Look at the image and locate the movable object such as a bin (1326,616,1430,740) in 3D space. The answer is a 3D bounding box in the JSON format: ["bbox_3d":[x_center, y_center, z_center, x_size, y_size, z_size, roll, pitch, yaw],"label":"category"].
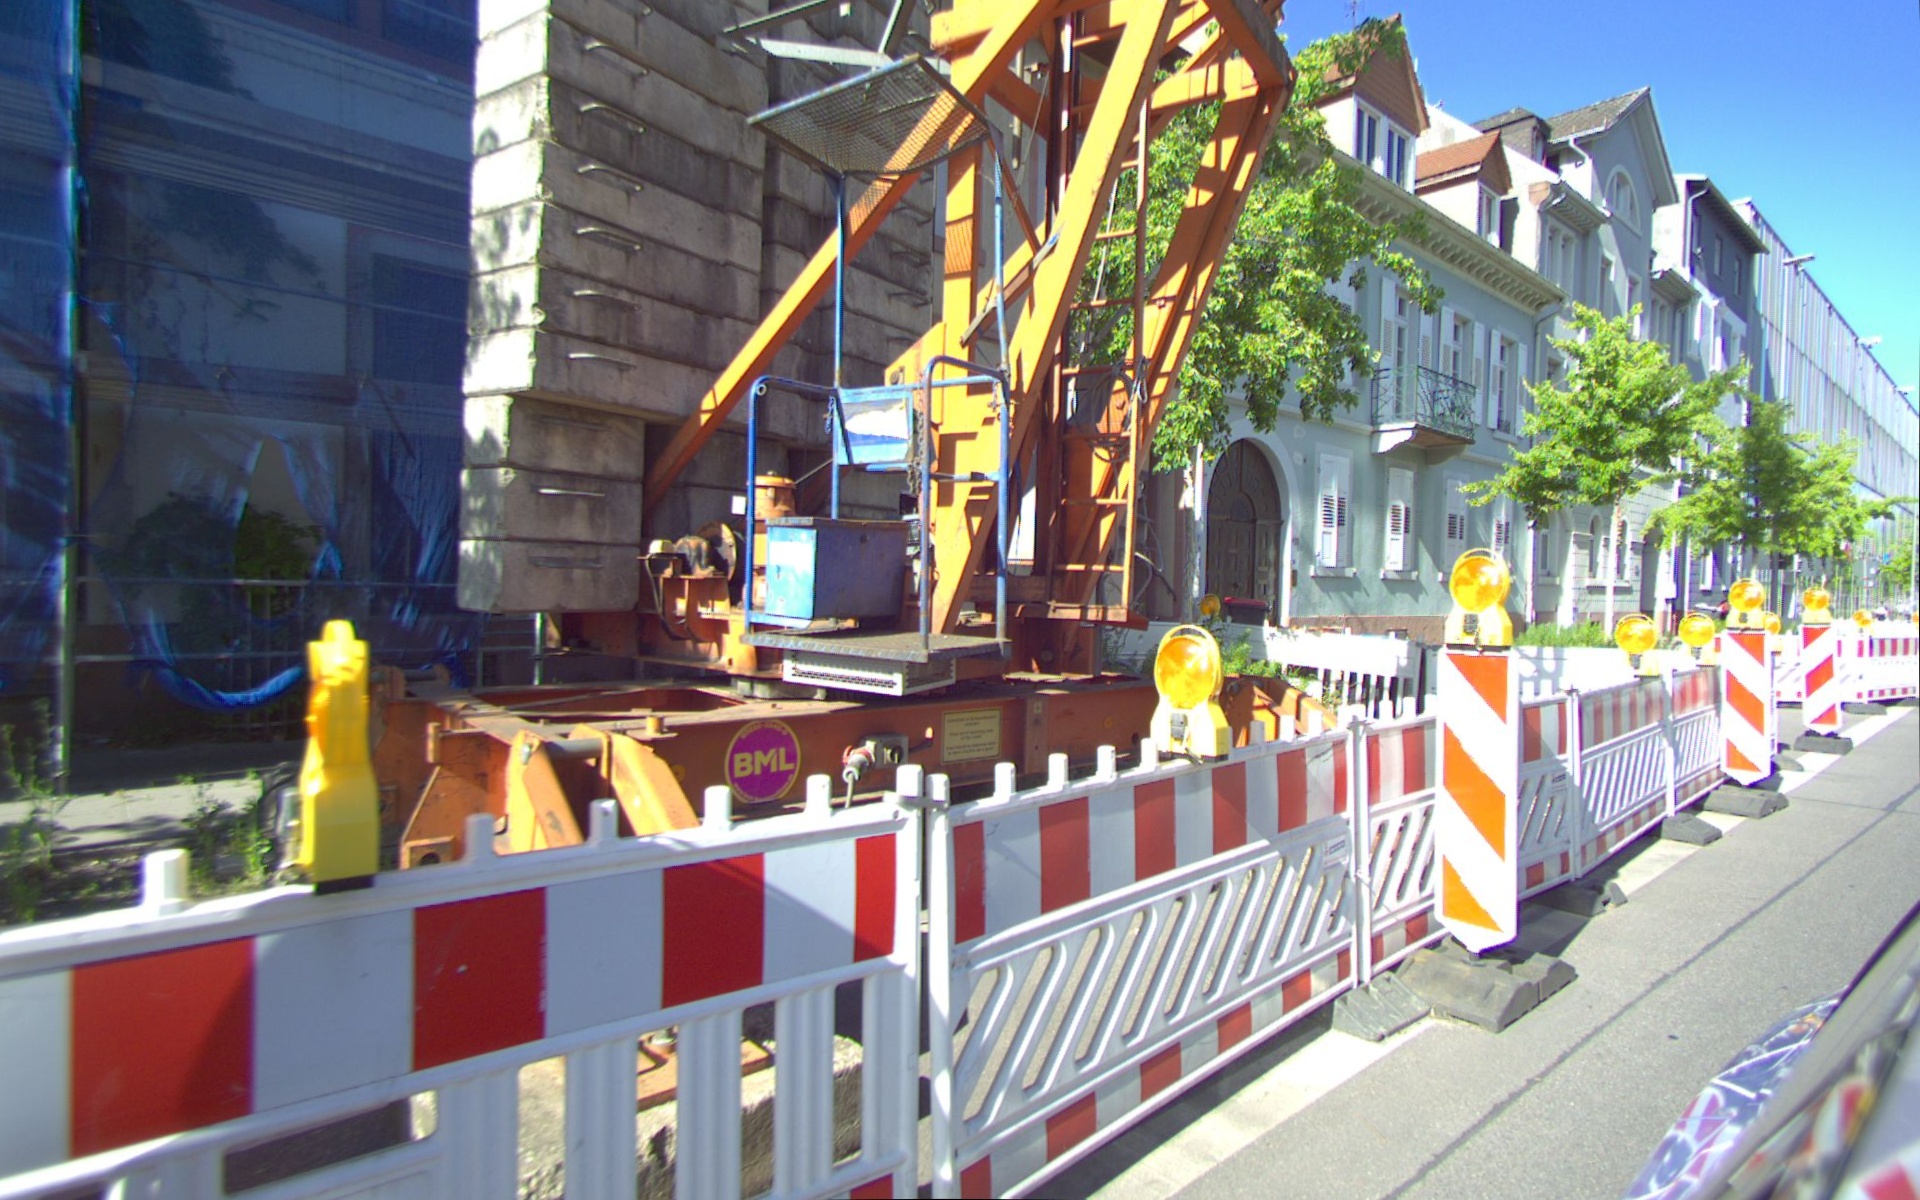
[{"bbox_3d":[3.998,0.718,9.685,0.718,1.070,0.597,0,4,-41],"label":"movable object such as a bin"}]

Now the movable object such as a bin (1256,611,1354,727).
[{"bbox_3d":[3.527,0.679,10.342,0.588,1.070,0.771,8,5,44],"label":"movable object such as a bin"}]

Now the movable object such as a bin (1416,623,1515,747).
[{"bbox_3d":[4.699,0.759,9.406,0.718,1.071,0.589,0,0,-41],"label":"movable object such as a bin"}]

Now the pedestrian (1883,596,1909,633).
[{"bbox_3d":[53.069,0.812,57.388,0.880,1.947,0.877,-2,5,-41],"label":"pedestrian"}]

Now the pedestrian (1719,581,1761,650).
[{"bbox_3d":[22.574,0.425,29.293,0.787,1.953,0.763,1,0,25],"label":"pedestrian"}]

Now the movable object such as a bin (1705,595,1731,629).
[{"bbox_3d":[26.189,0.407,34.957,0.691,1.122,0.589,1,0,-40],"label":"movable object such as a bin"}]
